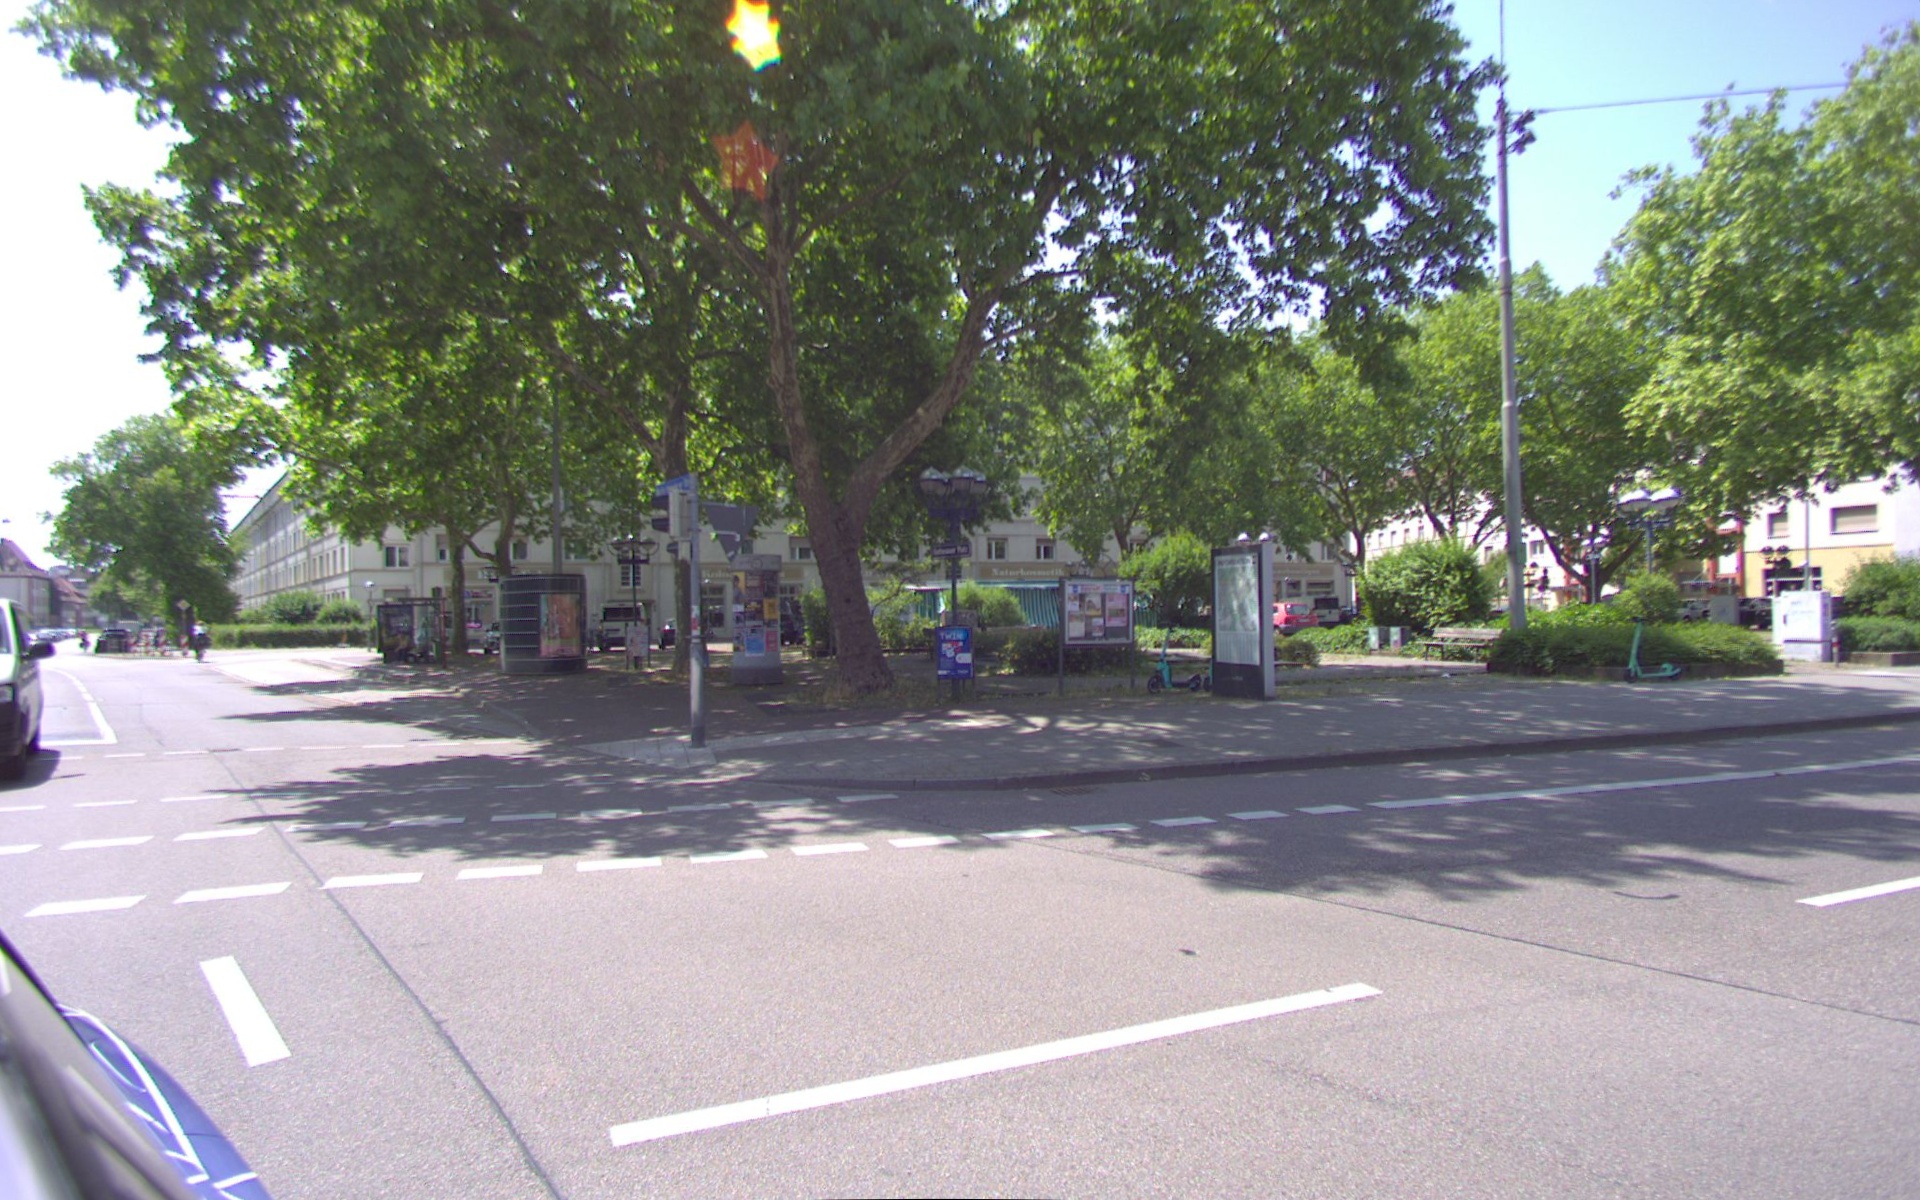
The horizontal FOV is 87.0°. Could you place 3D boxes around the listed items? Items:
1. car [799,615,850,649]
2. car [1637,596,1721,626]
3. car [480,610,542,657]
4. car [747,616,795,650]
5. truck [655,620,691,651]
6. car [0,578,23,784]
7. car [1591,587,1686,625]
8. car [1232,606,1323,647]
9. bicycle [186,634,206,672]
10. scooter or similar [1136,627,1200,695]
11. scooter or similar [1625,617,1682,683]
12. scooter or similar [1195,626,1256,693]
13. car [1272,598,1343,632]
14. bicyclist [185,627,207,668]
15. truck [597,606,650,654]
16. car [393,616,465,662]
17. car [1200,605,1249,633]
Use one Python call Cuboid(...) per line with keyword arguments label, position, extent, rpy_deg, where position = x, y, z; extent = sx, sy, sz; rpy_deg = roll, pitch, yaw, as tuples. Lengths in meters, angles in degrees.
Cuboid(label="car", position=(-6.899, 1.611, 51.232), extent=(1.902, 1.613, 4.012), rpy_deg=(-1, -1, -17))
Cuboid(label="car", position=(37.909, 0.576, 53.374), extent=(3.783, 1.499, 1.929), rpy_deg=(-1, -1, -24))
Cuboid(label="car", position=(-20.825, 1.499, 47.087), extent=(1.966, 2.029, 4.011), rpy_deg=(-1, 0, -14))
Cuboid(label="car", position=(-9.590, 1.648, 51.011), extent=(1.902, 1.613, 4.012), rpy_deg=(-1, -1, -17))
Cuboid(label="truck", position=(-13.966, 1.706, 49.213), extent=(1.444, 1.388, 2.992), rpy_deg=(-1, 0, -20))
Cuboid(label="car", position=(-11.423, 0.913, 10.975), extent=(1.825, 1.968, 4.948), rpy_deg=(-1, -3, -43))
Cuboid(label="car", position=(37.743, 0.341, 56.275), extent=(5.019, 2.005, 1.929), rpy_deg=(-1, -1, -24))
Cuboid(label="car", position=(11.698, 0.951, 37.476), extent=(1.447, 1.394, 3.355), rpy_deg=(-1, 0, -20))
Cuboid(label="bicycle", position=(-33.619, 2.307, 44.554), extent=(0.587, 1.566, 1.848), rpy_deg=(-1, 0, -34))
Cuboid(label="scooter or similar", position=(3.576, 1.040, 17.385), extent=(1.020, 1.129, 0.258), rpy_deg=(-1, -1, -6))
Cuboid(label="scooter or similar", position=(12.302, 0.880, 17.954), extent=(0.847, 1.129, 0.258), rpy_deg=(-1, 0, -6))
Cuboid(label="scooter or similar", position=(4.587, 1.024, 17.500), extent=(0.962, 1.129, 0.258), rpy_deg=(-1, 0, -6))
Cuboid(label="car", position=(20.956, 0.859, 61.164), extent=(2.129, 1.964, 4.011), rpy_deg=(-1, 0, -15))
Cuboid(label="bicyclist", position=(-33.569, 2.081, 44.466), extent=(0.693, 1.748, 0.789), rpy_deg=(-1, 0, -34))
Cuboid(label="truck", position=(-16.089, 1.391, 48.573), extent=(1.933, 2.138, 4.384), rpy_deg=(-1, 0, -12))
Cuboid(label="car", position=(-23.858, 1.709, 45.618), extent=(1.966, 1.913, 4.011), rpy_deg=(-1, -1, -15))
Cuboid(label="car", position=(18.797, 1.317, 72.005), extent=(1.547, 1.964, 3.938), rpy_deg=(-1, 0, -15))
